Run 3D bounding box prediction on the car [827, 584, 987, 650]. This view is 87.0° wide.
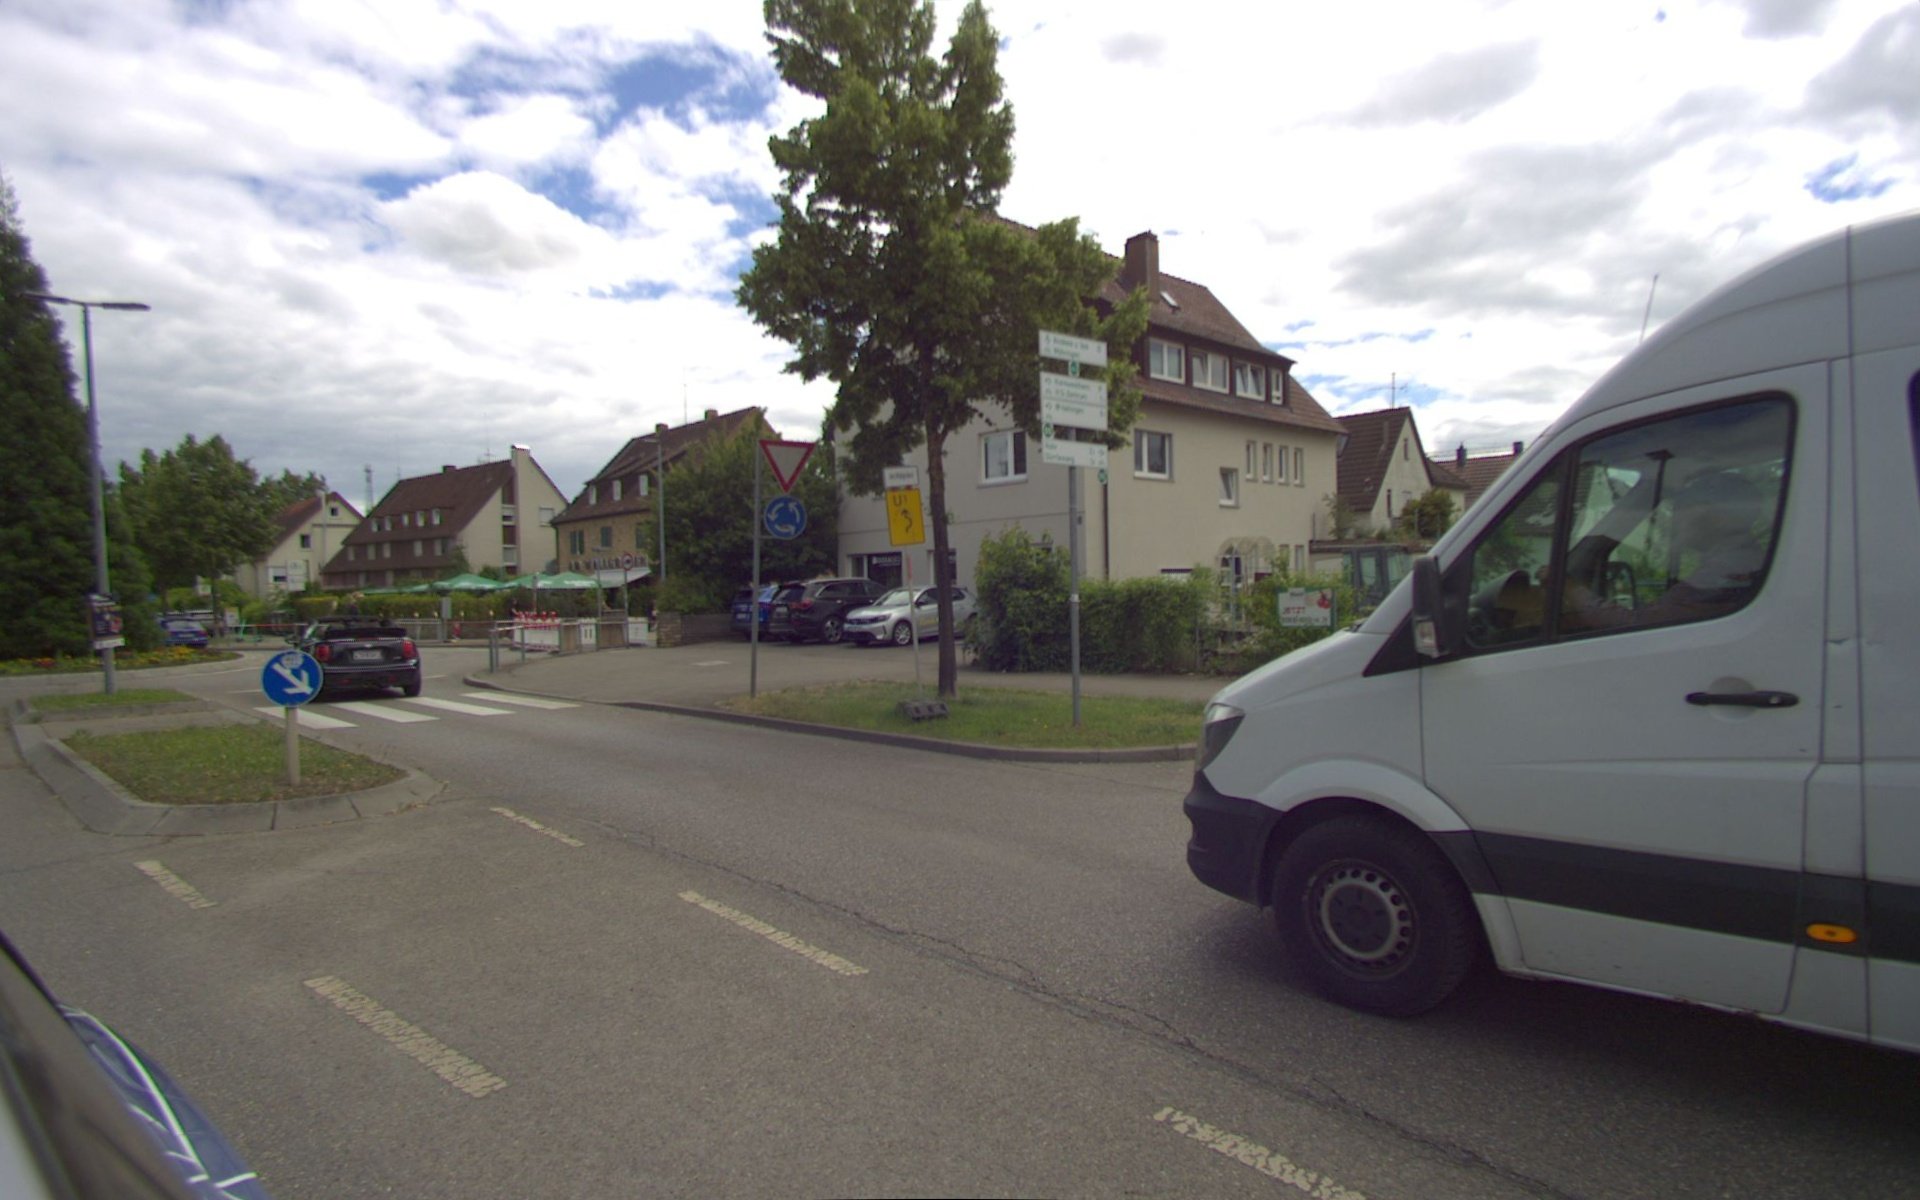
[{"bbox_3d":[-1.276,0.389,25.550,1.747,1.413,3.875,-1,1,44],"label":"car"}]

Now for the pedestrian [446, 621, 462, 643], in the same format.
[{"bbox_3d":[-21.281,1.342,42.572,0.423,0.919,0.340,-3,2,6],"label":"pedestrian"}]

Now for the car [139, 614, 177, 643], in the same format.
[{"bbox_3d":[-53.695,1.914,67.754,1.725,1.843,4.053,-2,0,-42],"label":"car"}]

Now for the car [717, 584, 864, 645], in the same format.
[{"bbox_3d":[-4.841,0.368,29.258,1.820,1.547,3.875,0,2,44],"label":"car"}]

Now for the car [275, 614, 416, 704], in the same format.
[{"bbox_3d":[-10.951,0.972,17.932,1.554,1.372,3.748,-1,0,-40],"label":"car"}]

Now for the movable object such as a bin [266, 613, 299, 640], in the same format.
[{"bbox_3d":[-37.815,1.478,56.481,2.723,1.427,0.970,-2,0,44],"label":"movable object such as a bin"}]

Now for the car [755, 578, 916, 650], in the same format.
[{"bbox_3d":[-3.281,0.307,27.042,3.871,1.674,1.858,-3,3,-42],"label":"car"}]

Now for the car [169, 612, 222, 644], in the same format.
[{"bbox_3d":[-42.624,1.577,56.401,4.049,1.648,1.727,-2,0,44],"label":"car"}]

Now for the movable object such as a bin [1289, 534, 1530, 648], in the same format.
[{"bbox_3d":[9.616,-0.154,21.852,4.361,2.204,1.876,-1,0,42],"label":"movable object such as a bin"}]

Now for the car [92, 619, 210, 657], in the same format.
[{"bbox_3d":[-31.484,1.446,39.378,4.476,1.382,1.602,0,0,22],"label":"car"}]

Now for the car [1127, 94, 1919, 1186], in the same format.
[{"bbox_3d":[3.457,0.079,2.808,1.996,2.694,5.809,-1,0,-44],"label":"car"}]

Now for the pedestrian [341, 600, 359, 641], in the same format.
[{"bbox_3d":[-27.932,0.916,46.336,0.627,1.840,0.568,-3,0,-31],"label":"pedestrian"}]
